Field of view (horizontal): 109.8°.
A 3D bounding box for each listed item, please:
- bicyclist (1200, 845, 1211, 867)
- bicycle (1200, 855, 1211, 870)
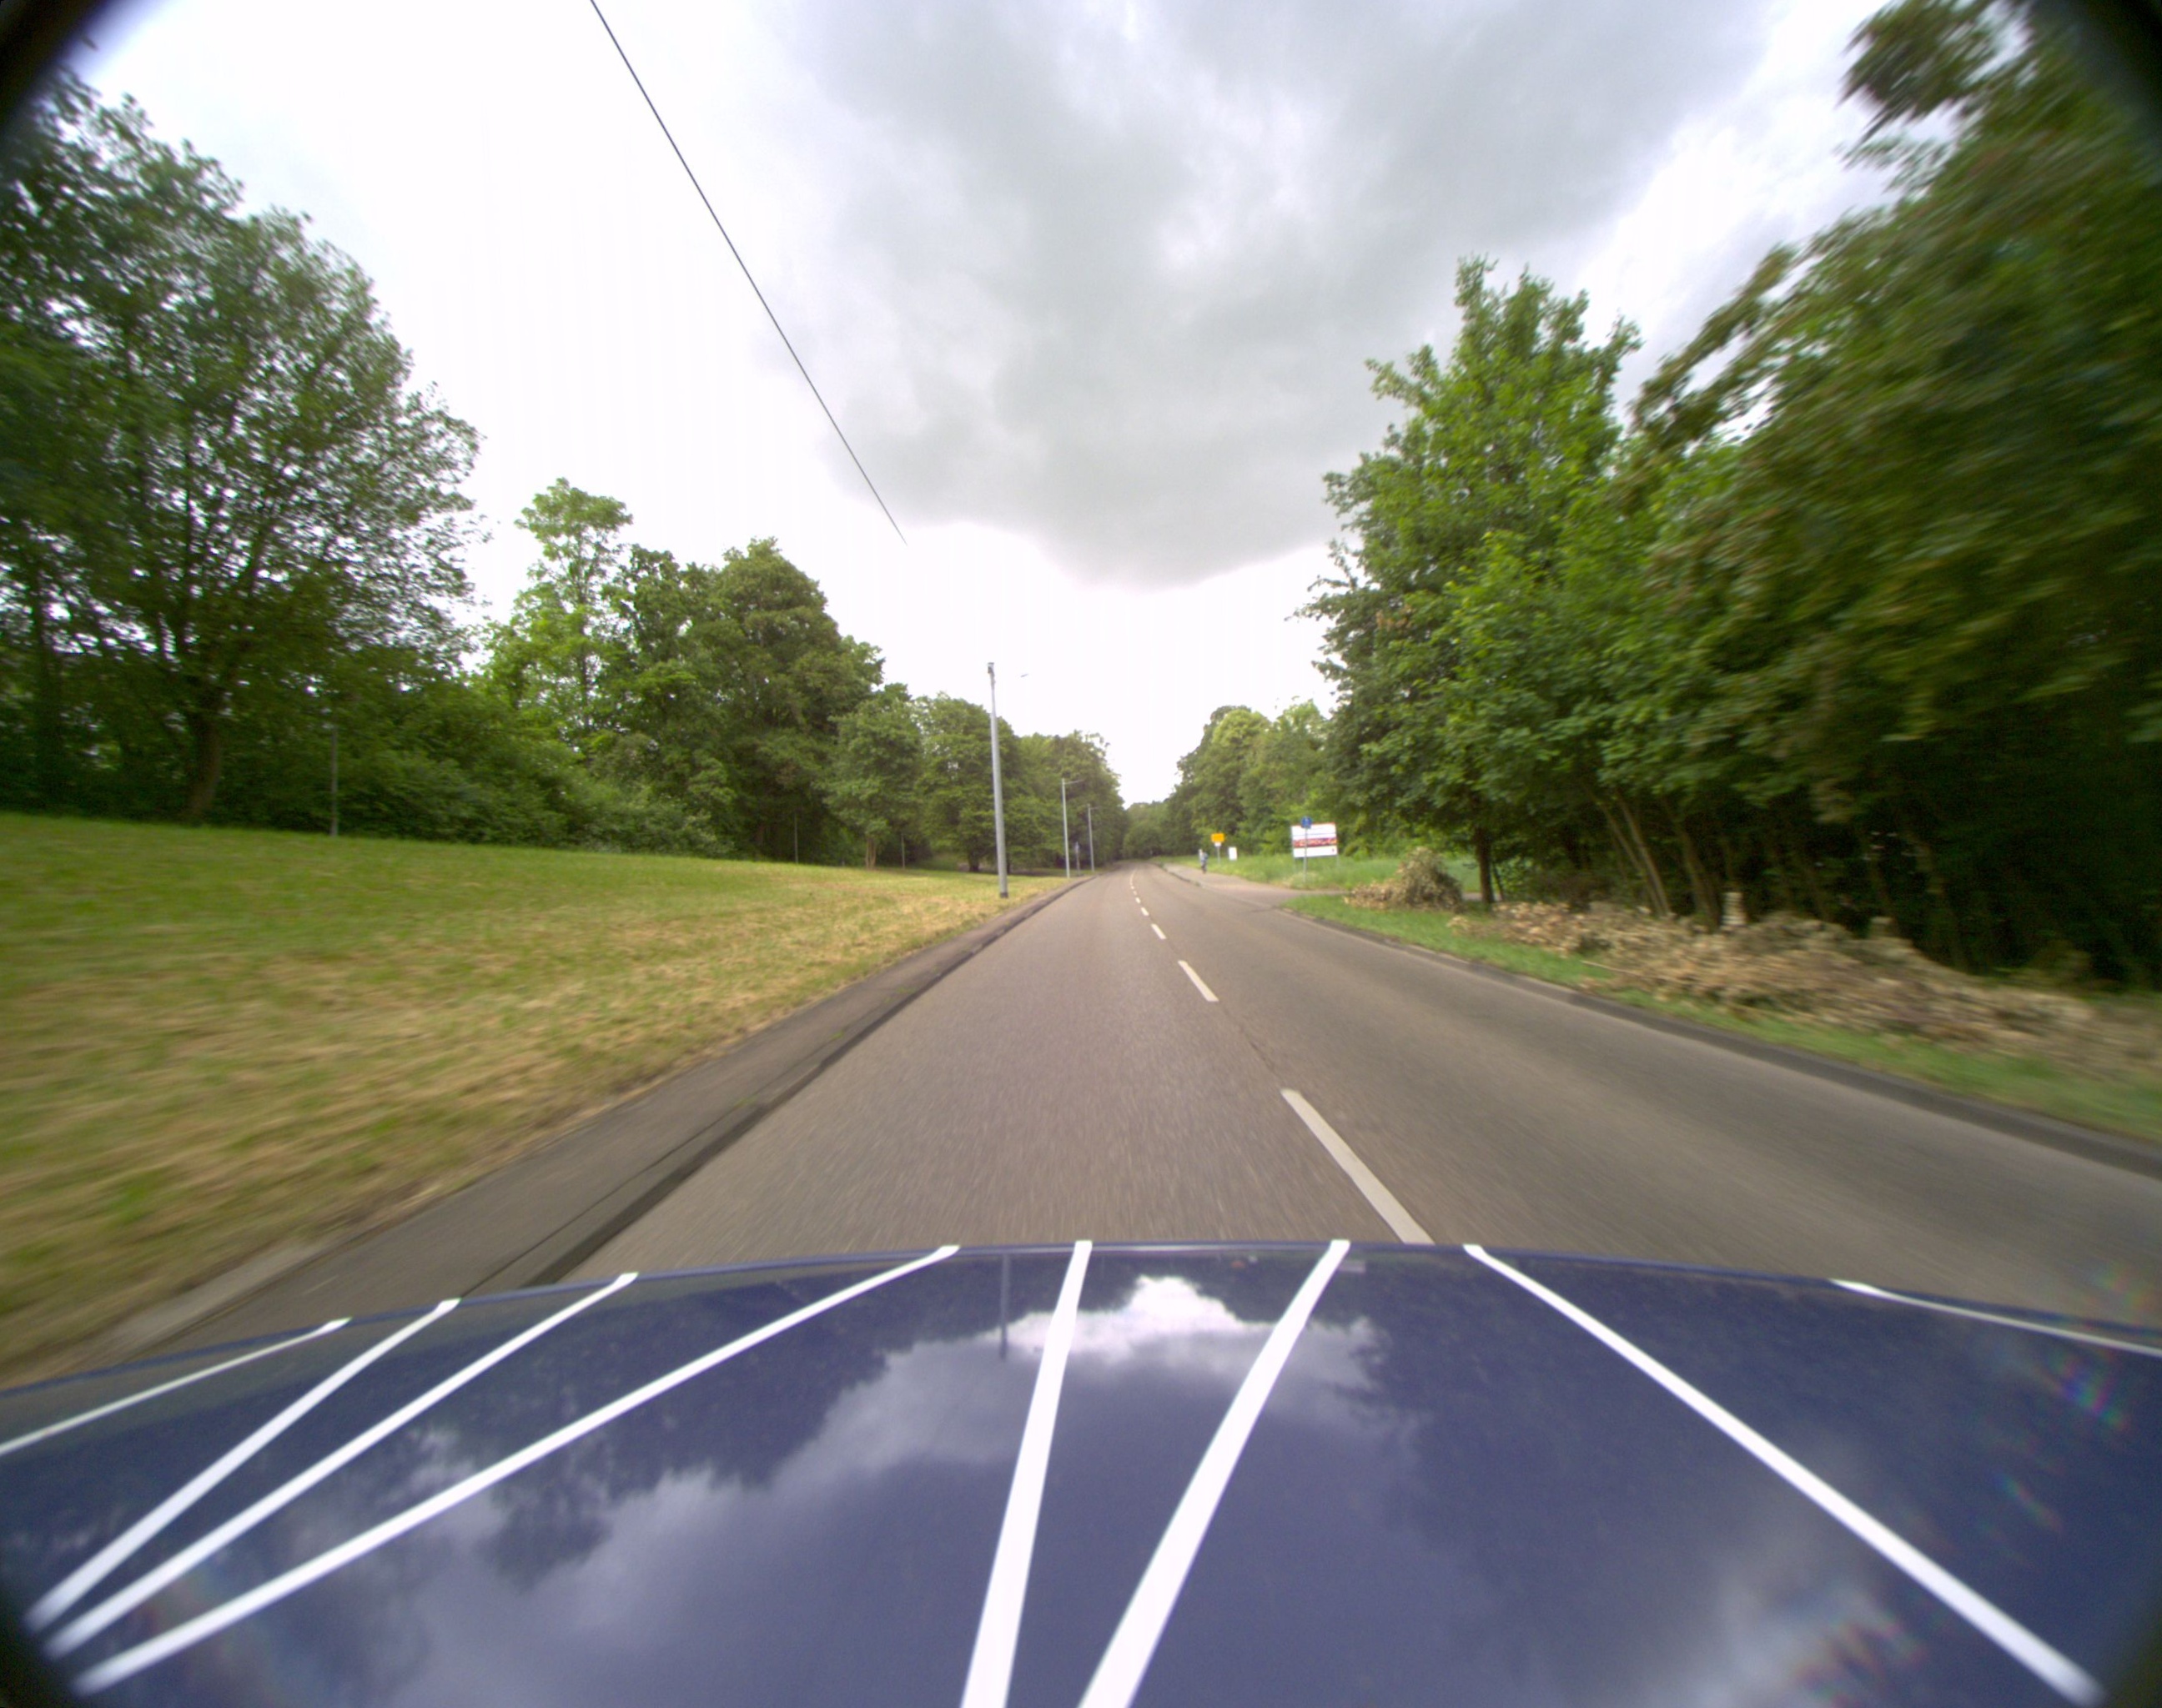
[{"bbox_3d":[8.994,0.159,54.984,0.667,1.511,1.271,-3,0,7],"label":"bicyclist"},{"bbox_3d":[9.019,0.611,54.988,0.667,1.068,2.147,-3,0,7],"label":"bicycle"}]
